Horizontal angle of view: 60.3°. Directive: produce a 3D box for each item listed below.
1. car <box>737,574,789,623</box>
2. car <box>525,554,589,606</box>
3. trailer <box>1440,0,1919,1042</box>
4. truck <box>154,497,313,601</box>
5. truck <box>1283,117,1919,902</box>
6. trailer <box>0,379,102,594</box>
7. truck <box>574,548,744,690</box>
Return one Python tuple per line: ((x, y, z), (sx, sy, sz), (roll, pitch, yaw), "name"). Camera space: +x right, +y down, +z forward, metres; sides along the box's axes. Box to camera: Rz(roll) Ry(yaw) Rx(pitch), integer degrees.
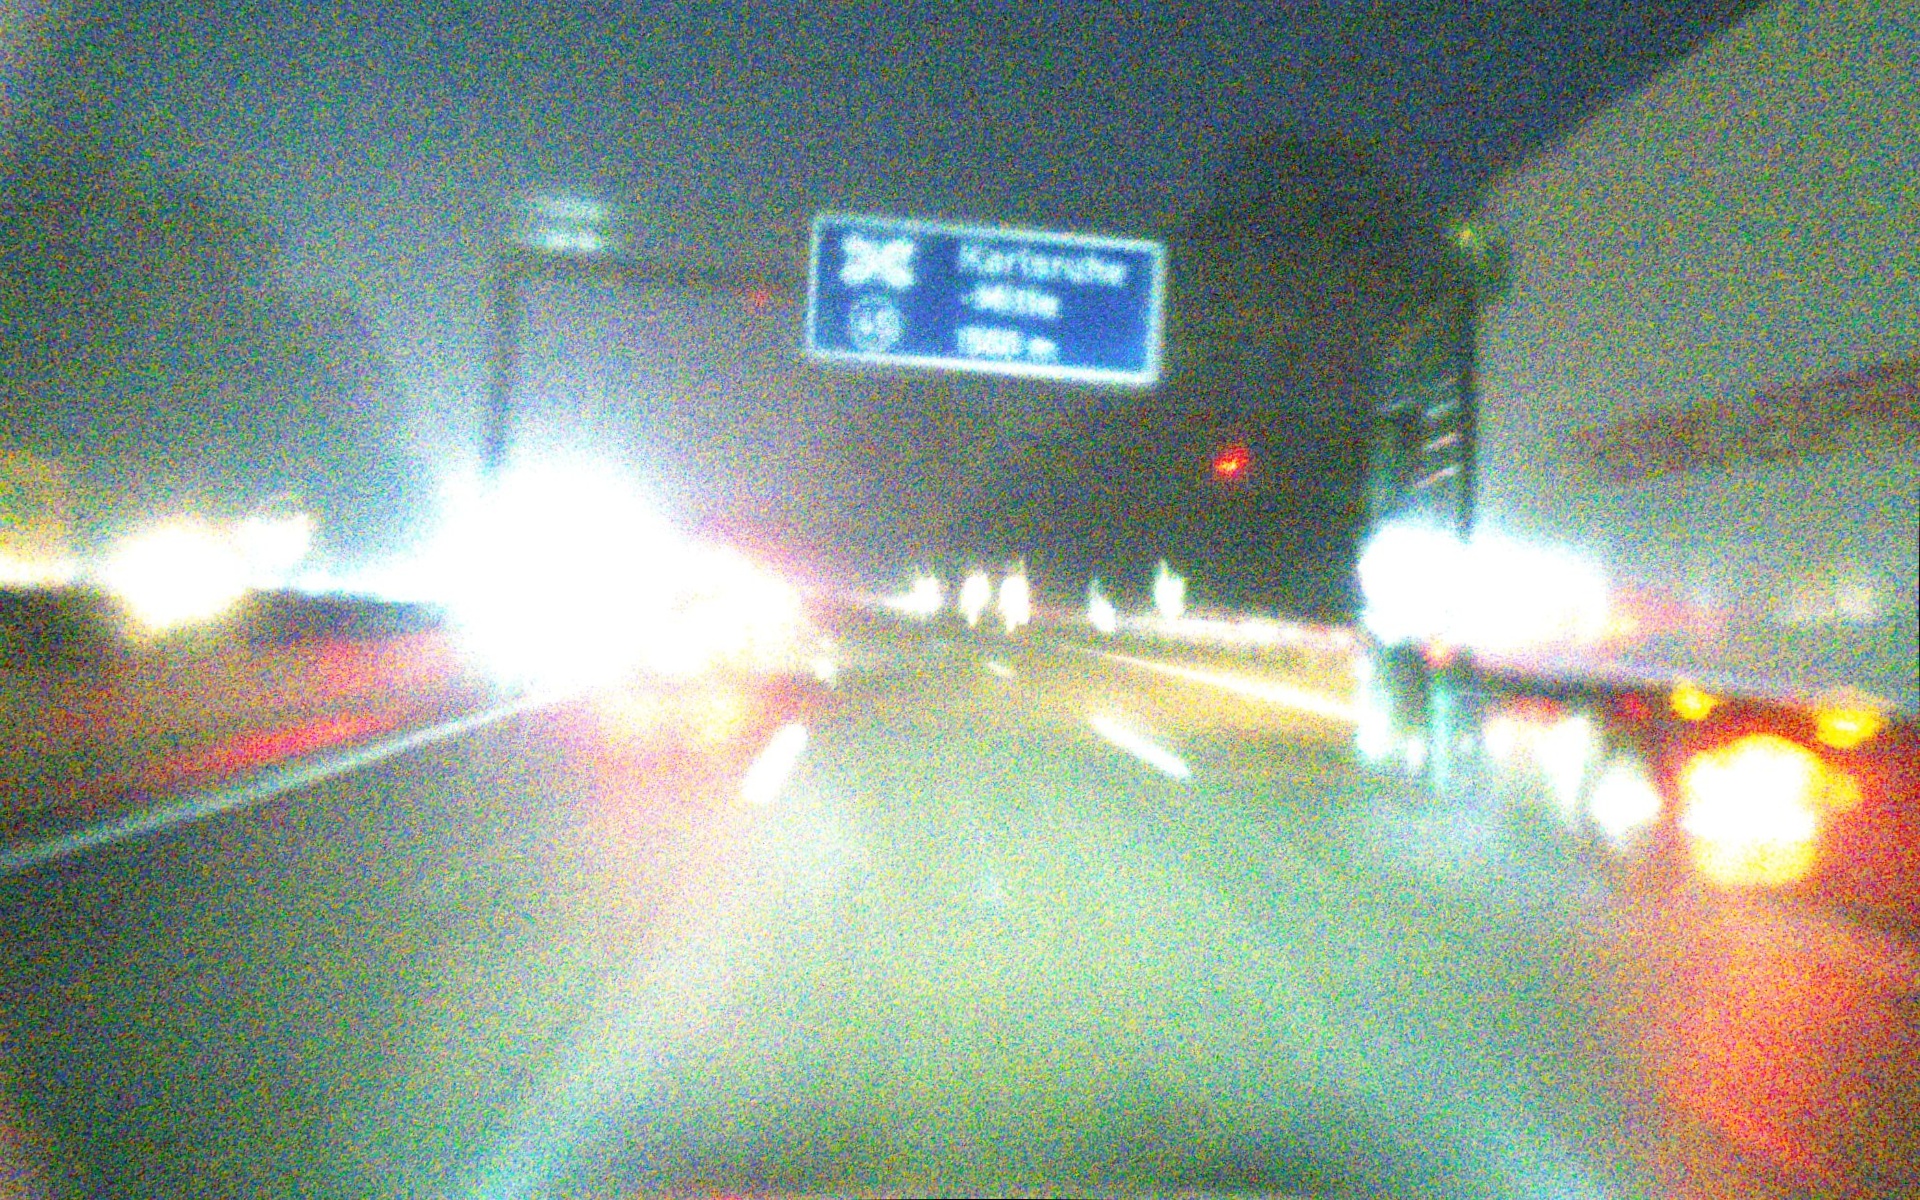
((-9.298, -0.110, 78.435), (1.954, 2.048, 3.999), (5, 1, -2), "car")
((-17.965, -0.916, 73.902), (1.956, 2.048, 5.190), (4, 2, -6), "car")
((4.851, -0.573, 4.322), (2.684, 4.322, 13.364), (3, -1, -2), "trailer")
((-21.455, -1.437, 49.211), (2.241, 2.718, 6.116), (4, 0, -4), "truck")
((4.433, -0.525, 12.110), (2.656, 4.314, 5.291), (4, 0, -2), "truck")
((-24.304, -2.740, 37.591), (2.718, 5.178, 14.923), (4, 2, -5), "trailer")
((-4.976, 0.188, 28.266), (2.102, 2.113, 6.599), (1, 2, -4), "truck")
